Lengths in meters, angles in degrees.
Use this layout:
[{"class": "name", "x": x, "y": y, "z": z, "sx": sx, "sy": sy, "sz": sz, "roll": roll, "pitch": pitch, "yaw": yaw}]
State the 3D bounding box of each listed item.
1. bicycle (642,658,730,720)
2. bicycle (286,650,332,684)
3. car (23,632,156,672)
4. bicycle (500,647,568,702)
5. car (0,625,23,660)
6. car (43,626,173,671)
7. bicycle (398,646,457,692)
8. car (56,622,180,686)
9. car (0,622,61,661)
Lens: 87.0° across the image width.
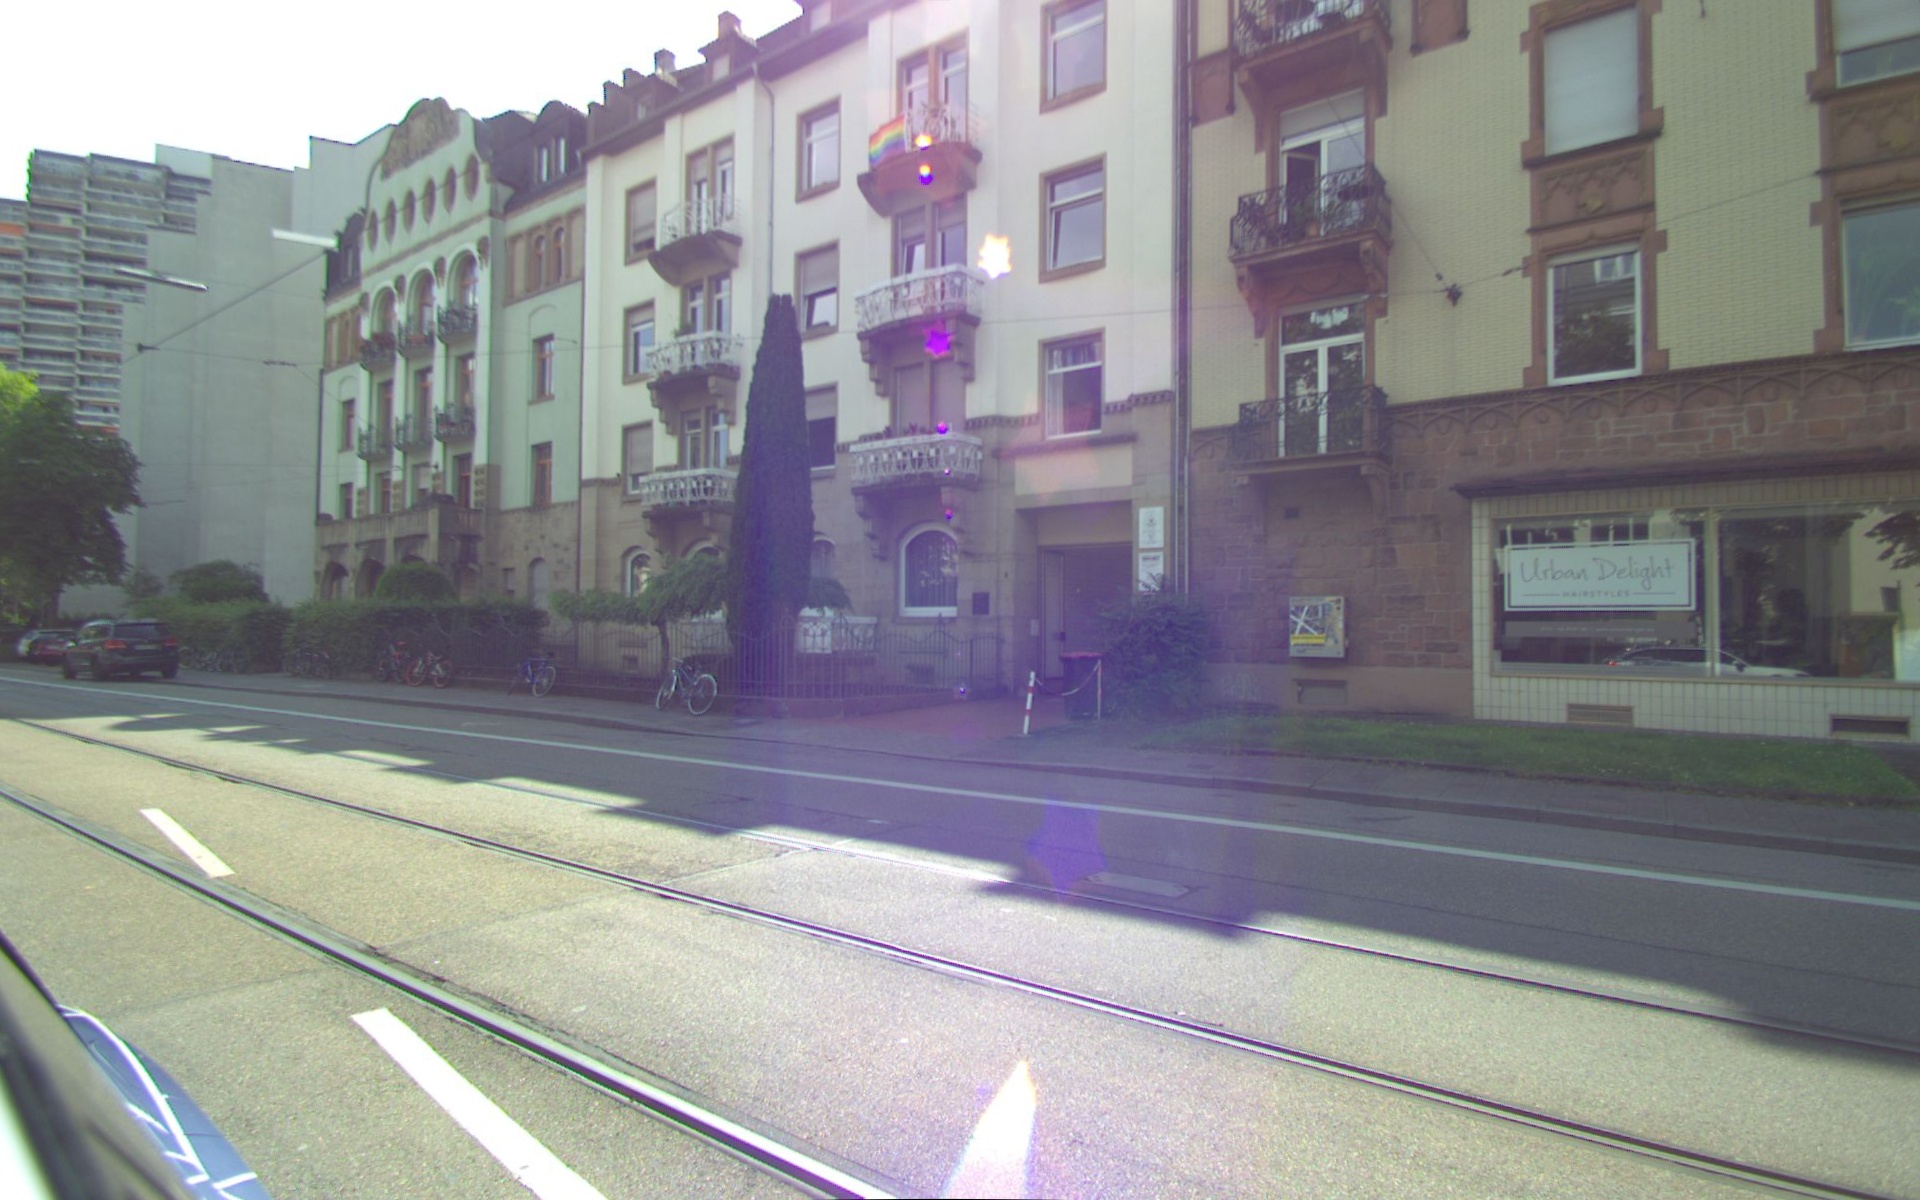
[{"class": "bicycle", "x": -4.843, "y": 1.540, "z": 17.783, "sx": 2.068, "sy": 0.913, "sz": 0.517, "roll": 1, "pitch": -1, "yaw": 45}, {"class": "bicycle", "x": -17.523, "y": 1.796, "z": 27.223, "sx": 1.872, "sy": 0.803, "sz": 0.579, "roll": 0, "pitch": 0, "yaw": 42}, {"class": "car", "x": -35.378, "y": 2.088, "z": 41.192, "sx": 1.633, "sy": 1.548, "sz": 3.841, "roll": -1, "pitch": -3, "yaw": 39}, {"class": "bicycle", "x": -8.870, "y": 1.531, "z": 21.038, "sx": 1.872, "sy": 1.037, "sz": 0.532, "roll": 0, "pitch": -2, "yaw": 42}, {"class": "car", "x": -51.273, "y": 2.202, "z": 52.535, "sx": 1.733, "sy": 1.857, "sz": 3.619, "roll": -1, "pitch": -3, "yaw": 37}, {"class": "car", "x": -33.085, "y": 1.869, "z": 39.383, "sx": 1.608, "sy": 1.652, "sz": 3.587, "roll": -1, "pitch": -2, "yaw": 37}, {"class": "bicycle", "x": -12.486, "y": 1.601, "z": 23.704, "sx": 1.872, "sy": 0.993, "sz": 0.579, "roll": 0, "pitch": -2, "yaw": 42}, {"class": "car", "x": -24.460, "y": 1.537, "z": 29.363, "sx": 4.324, "sy": 1.724, "sz": 1.775, "roll": -1, "pitch": -3, "yaw": 37}, {"class": "car", "x": -48.230, "y": 2.092, "z": 51.114, "sx": 1.829, "sy": 1.940, "sz": 3.947, "roll": -1, "pitch": -3, "yaw": 39}]
